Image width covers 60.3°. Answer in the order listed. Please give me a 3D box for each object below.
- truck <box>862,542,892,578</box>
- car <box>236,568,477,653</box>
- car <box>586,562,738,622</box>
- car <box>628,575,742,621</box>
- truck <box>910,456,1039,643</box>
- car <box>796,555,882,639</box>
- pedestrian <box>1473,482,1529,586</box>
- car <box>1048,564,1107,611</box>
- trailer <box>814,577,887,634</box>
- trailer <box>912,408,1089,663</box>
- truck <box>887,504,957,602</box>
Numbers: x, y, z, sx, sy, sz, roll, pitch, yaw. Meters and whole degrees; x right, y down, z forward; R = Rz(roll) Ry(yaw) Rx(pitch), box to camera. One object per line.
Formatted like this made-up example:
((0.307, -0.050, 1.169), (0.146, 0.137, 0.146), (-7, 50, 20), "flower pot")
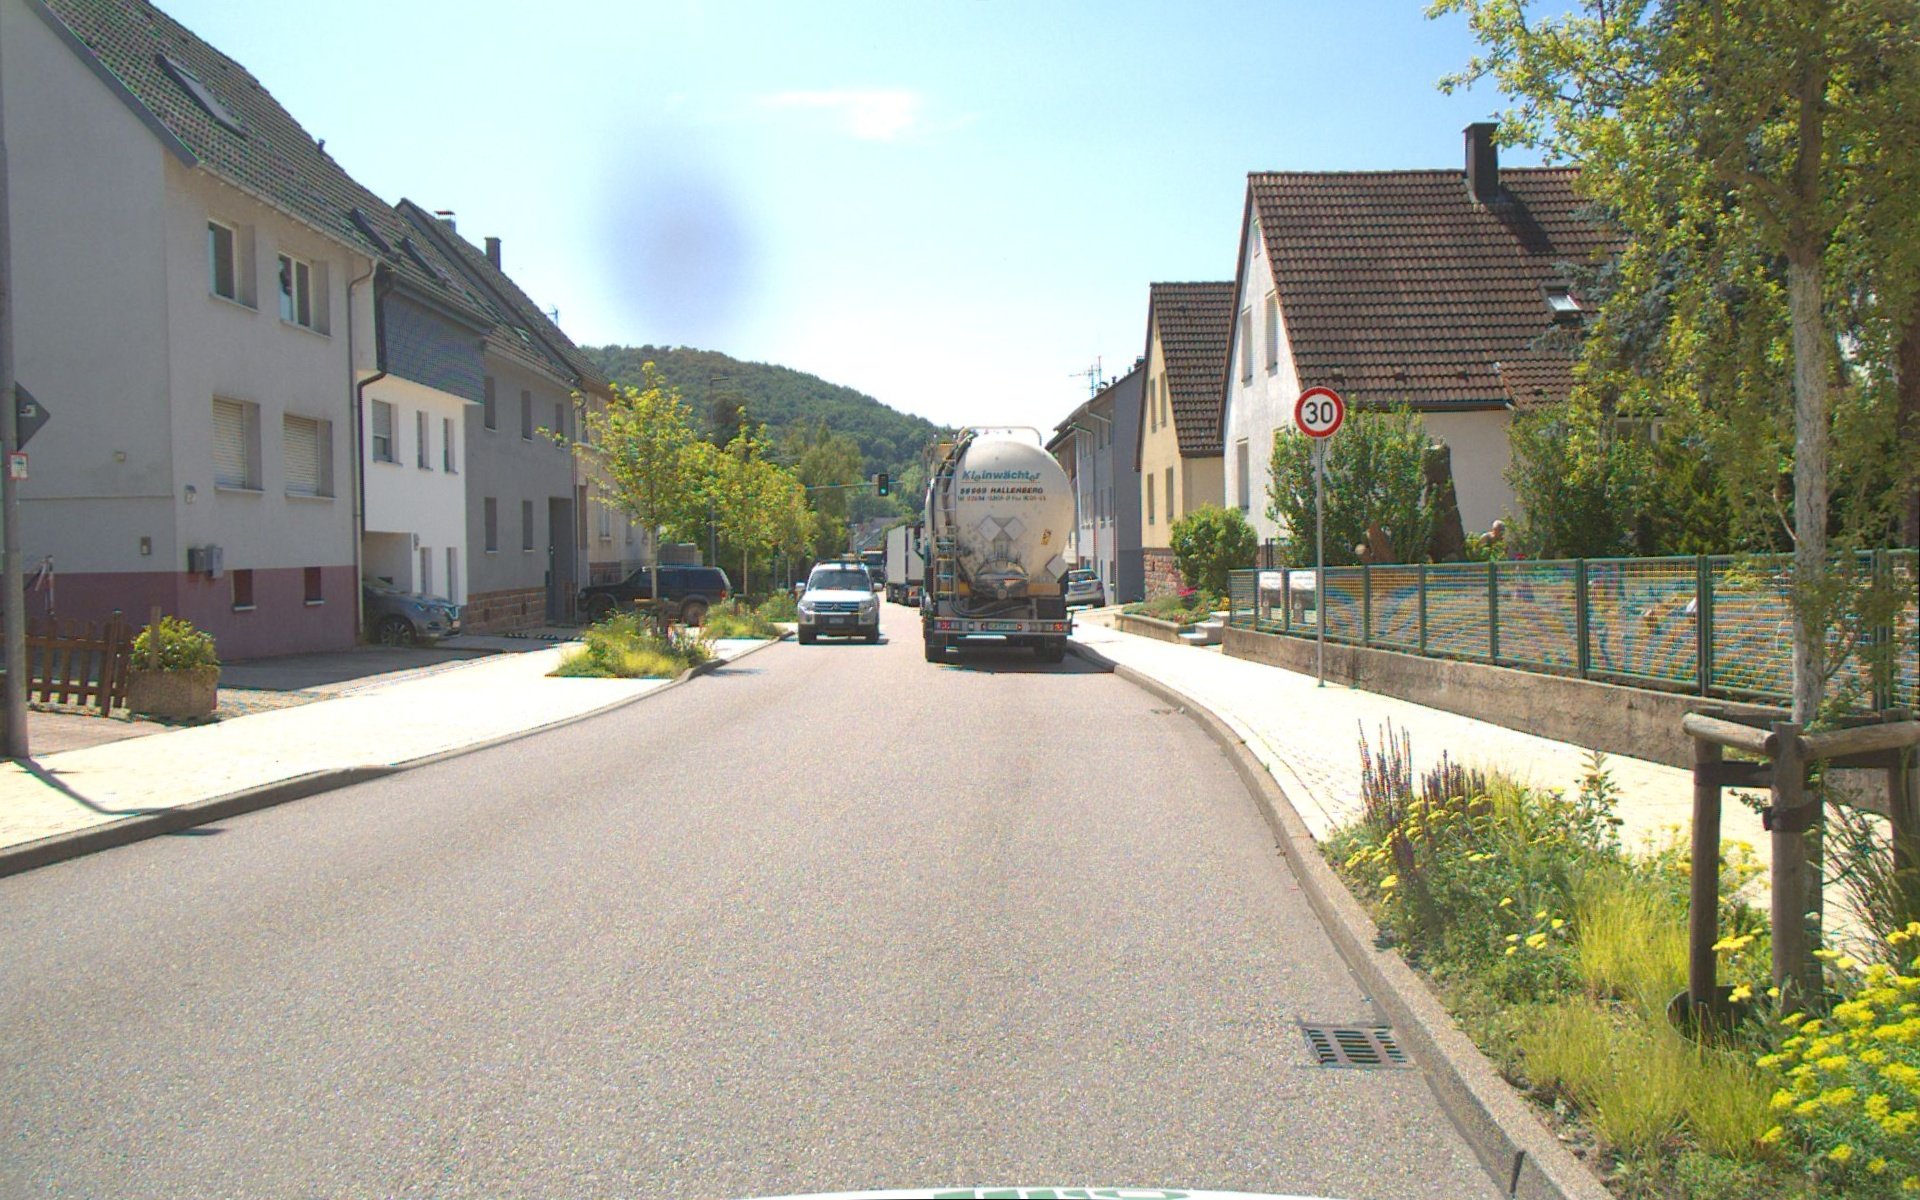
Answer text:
((-8.068, -3.874, 161.463), (2.674, 3.430, 8.632), (0, 1, -2), "truck")
((-11.435, 0.181, 31.515), (3.906, 1.572, 1.832), (0, 1, -1), "car")
((-9.027, -0.254, 50.381), (4.306, 1.781, 1.877), (0, 1, -3), "car")
((-9.078, -0.075, 54.567), (3.477, 1.464, 1.694), (0, 1, 33), "car")
((0.239, -1.113, 38.418), (2.752, 4.005, 6.097), (0, 1, -2), "truck")
((-2.850, -0.100, 39.669), (1.851, 1.893, 4.576), (0, 1, -2), "car")
((8.897, -1.082, 27.216), (0.592, 1.643, 0.552), (-5, 1, -2), "pedestrian")
((4.305, -0.474, 61.220), (1.754, 1.568, 4.519), (-4, 1, 0), "car")
((-2.873, 0.103, 44.071), (1.542, 1.420, 4.403), (-1, 1, 1), "trailer")
((0.506, -1.090, 31.610), (2.740, 4.070, 10.320), (0, 1, -2), "trailer")
((-2.127, -2.292, 87.449), (2.792, 4.760, 11.324), (1, 0, -6), "truck")
